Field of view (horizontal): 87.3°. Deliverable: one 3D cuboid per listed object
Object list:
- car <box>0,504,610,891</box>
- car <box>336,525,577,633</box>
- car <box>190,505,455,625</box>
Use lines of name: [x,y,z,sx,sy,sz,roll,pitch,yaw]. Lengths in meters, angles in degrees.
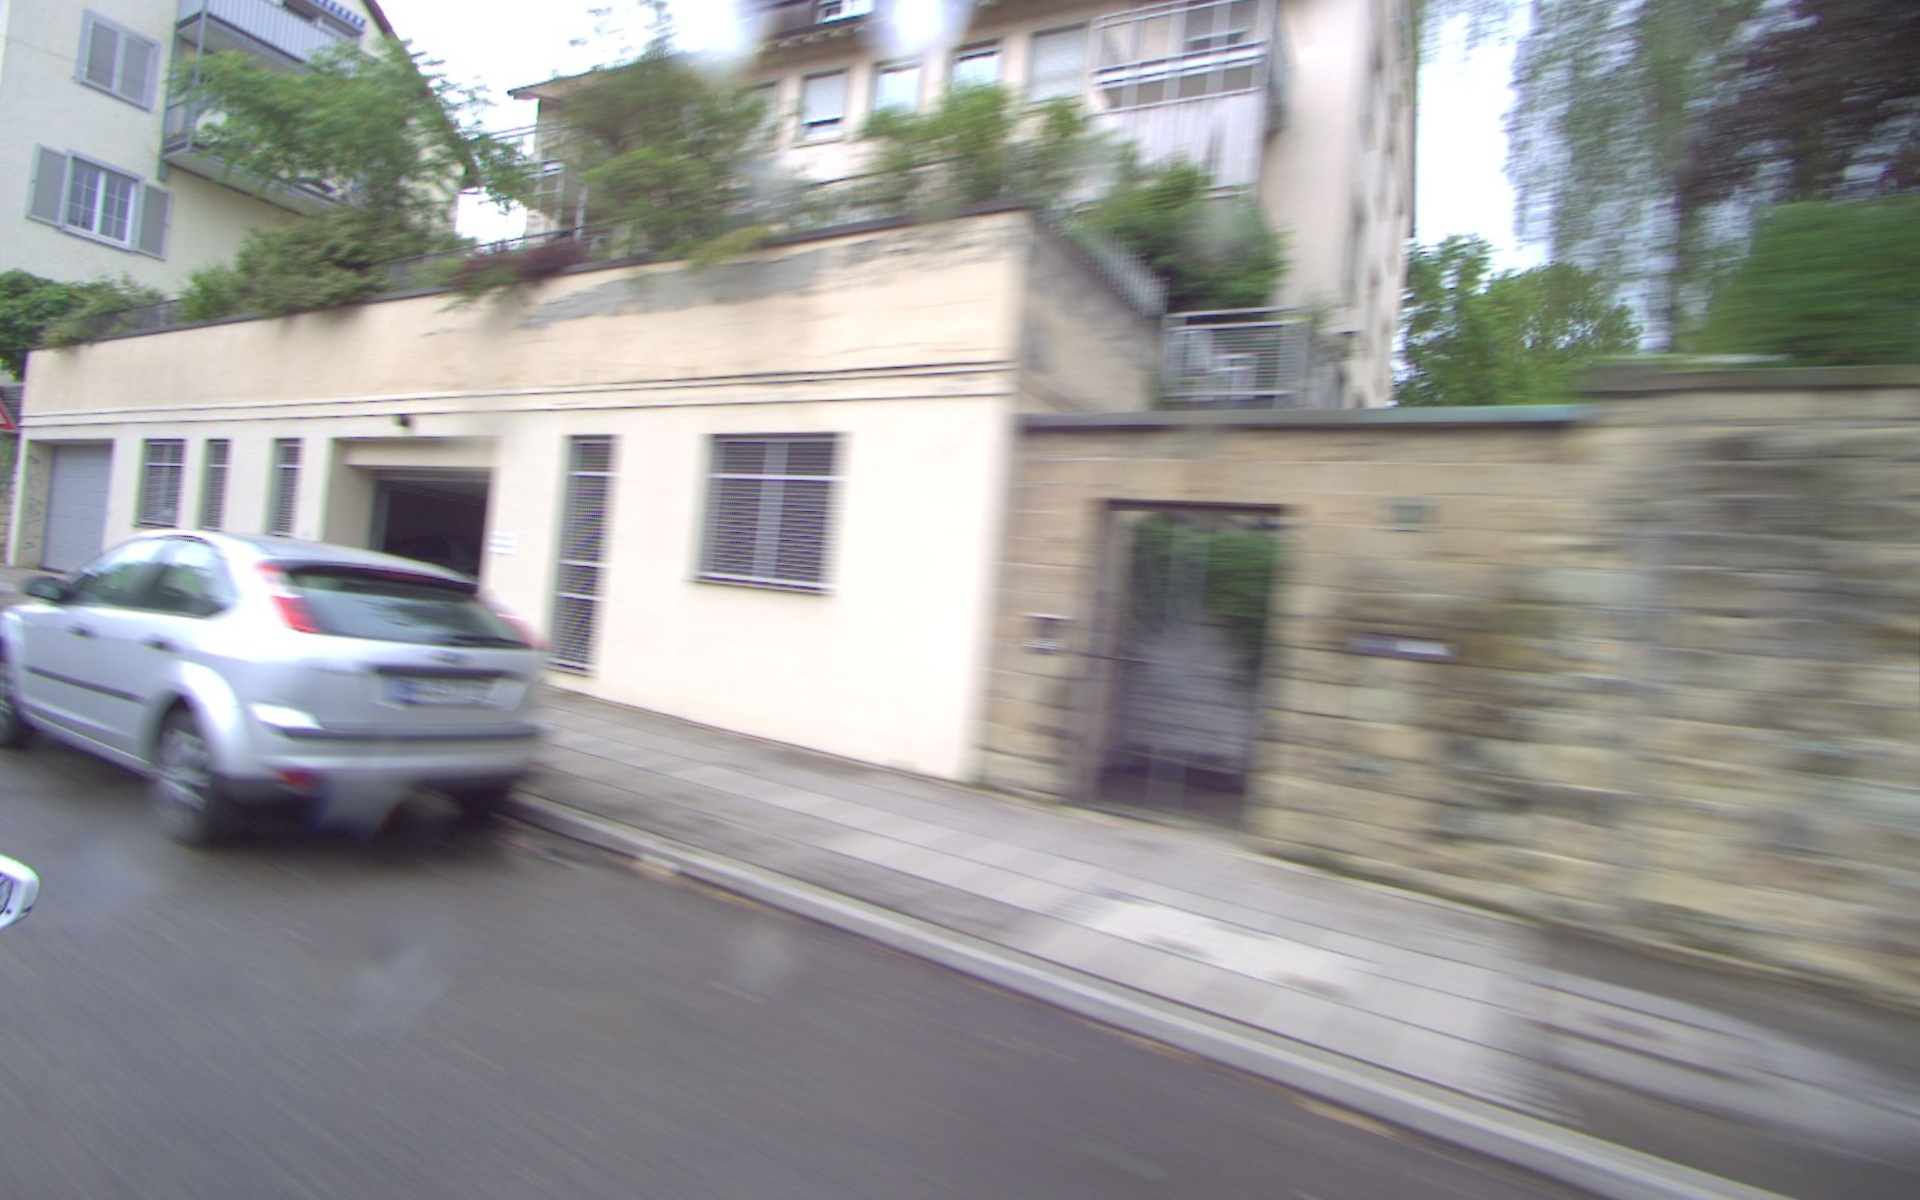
car: [-4.287,0.390,6.115,4.164,1.470,1.692,7,-2,31]
car: [-9.362,-0.400,18.661,4.131,1.417,1.891,7,-1,29]
car: [-10.636,-0.592,16.748,4.131,1.417,1.891,7,-1,29]
